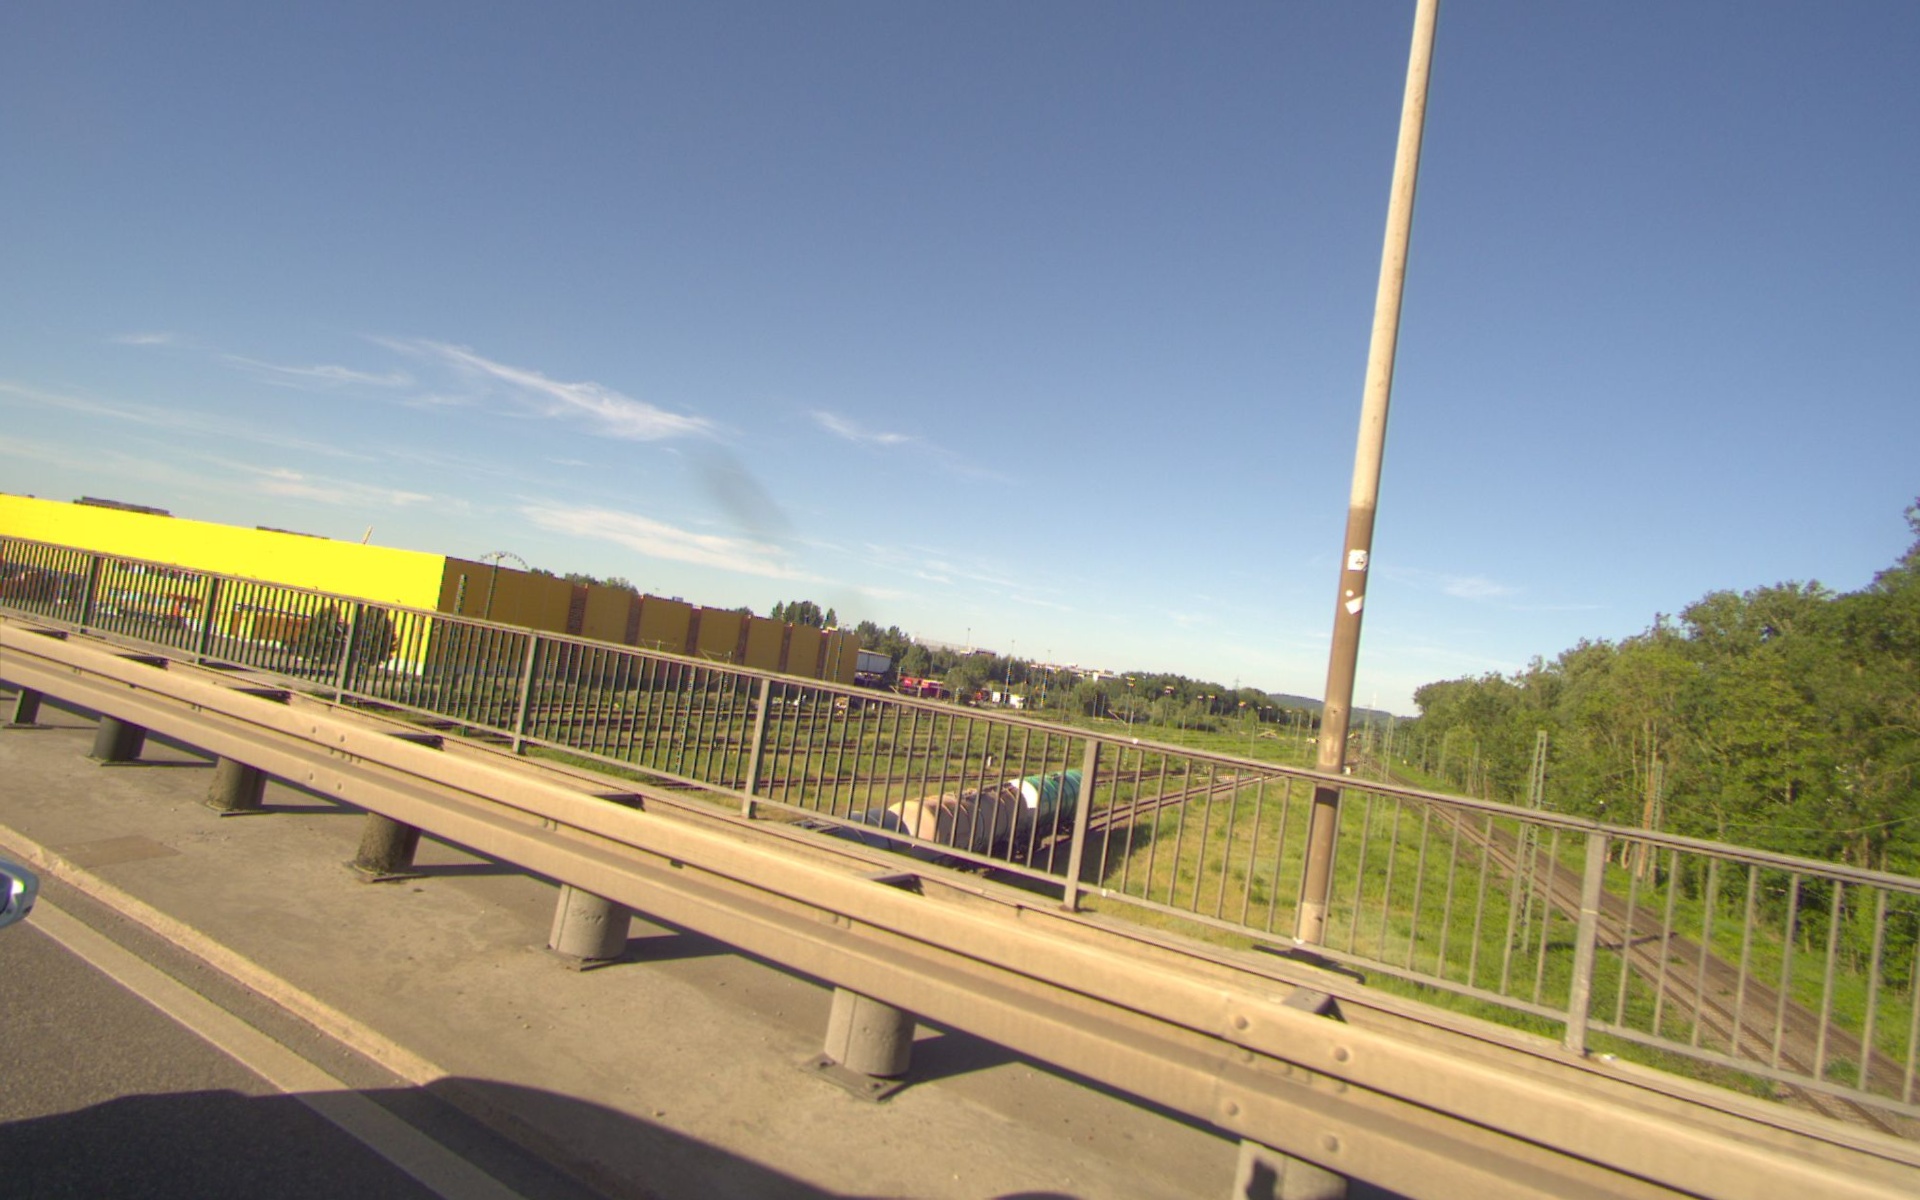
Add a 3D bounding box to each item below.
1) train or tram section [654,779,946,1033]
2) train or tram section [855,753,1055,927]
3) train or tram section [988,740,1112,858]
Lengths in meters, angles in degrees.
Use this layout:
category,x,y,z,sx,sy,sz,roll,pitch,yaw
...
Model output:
category,x,y,z,sx,sy,sz,roll,pitch,yaw
train or tram section,-4.699,9.684,34.592,3.275,5.325,13.093,7,-2,21
train or tram section,0.488,10.873,48.636,3.275,5.322,16.892,7,-2,21
train or tram section,6.074,12.149,63.631,3.275,5.242,15.189,7,-2,21
